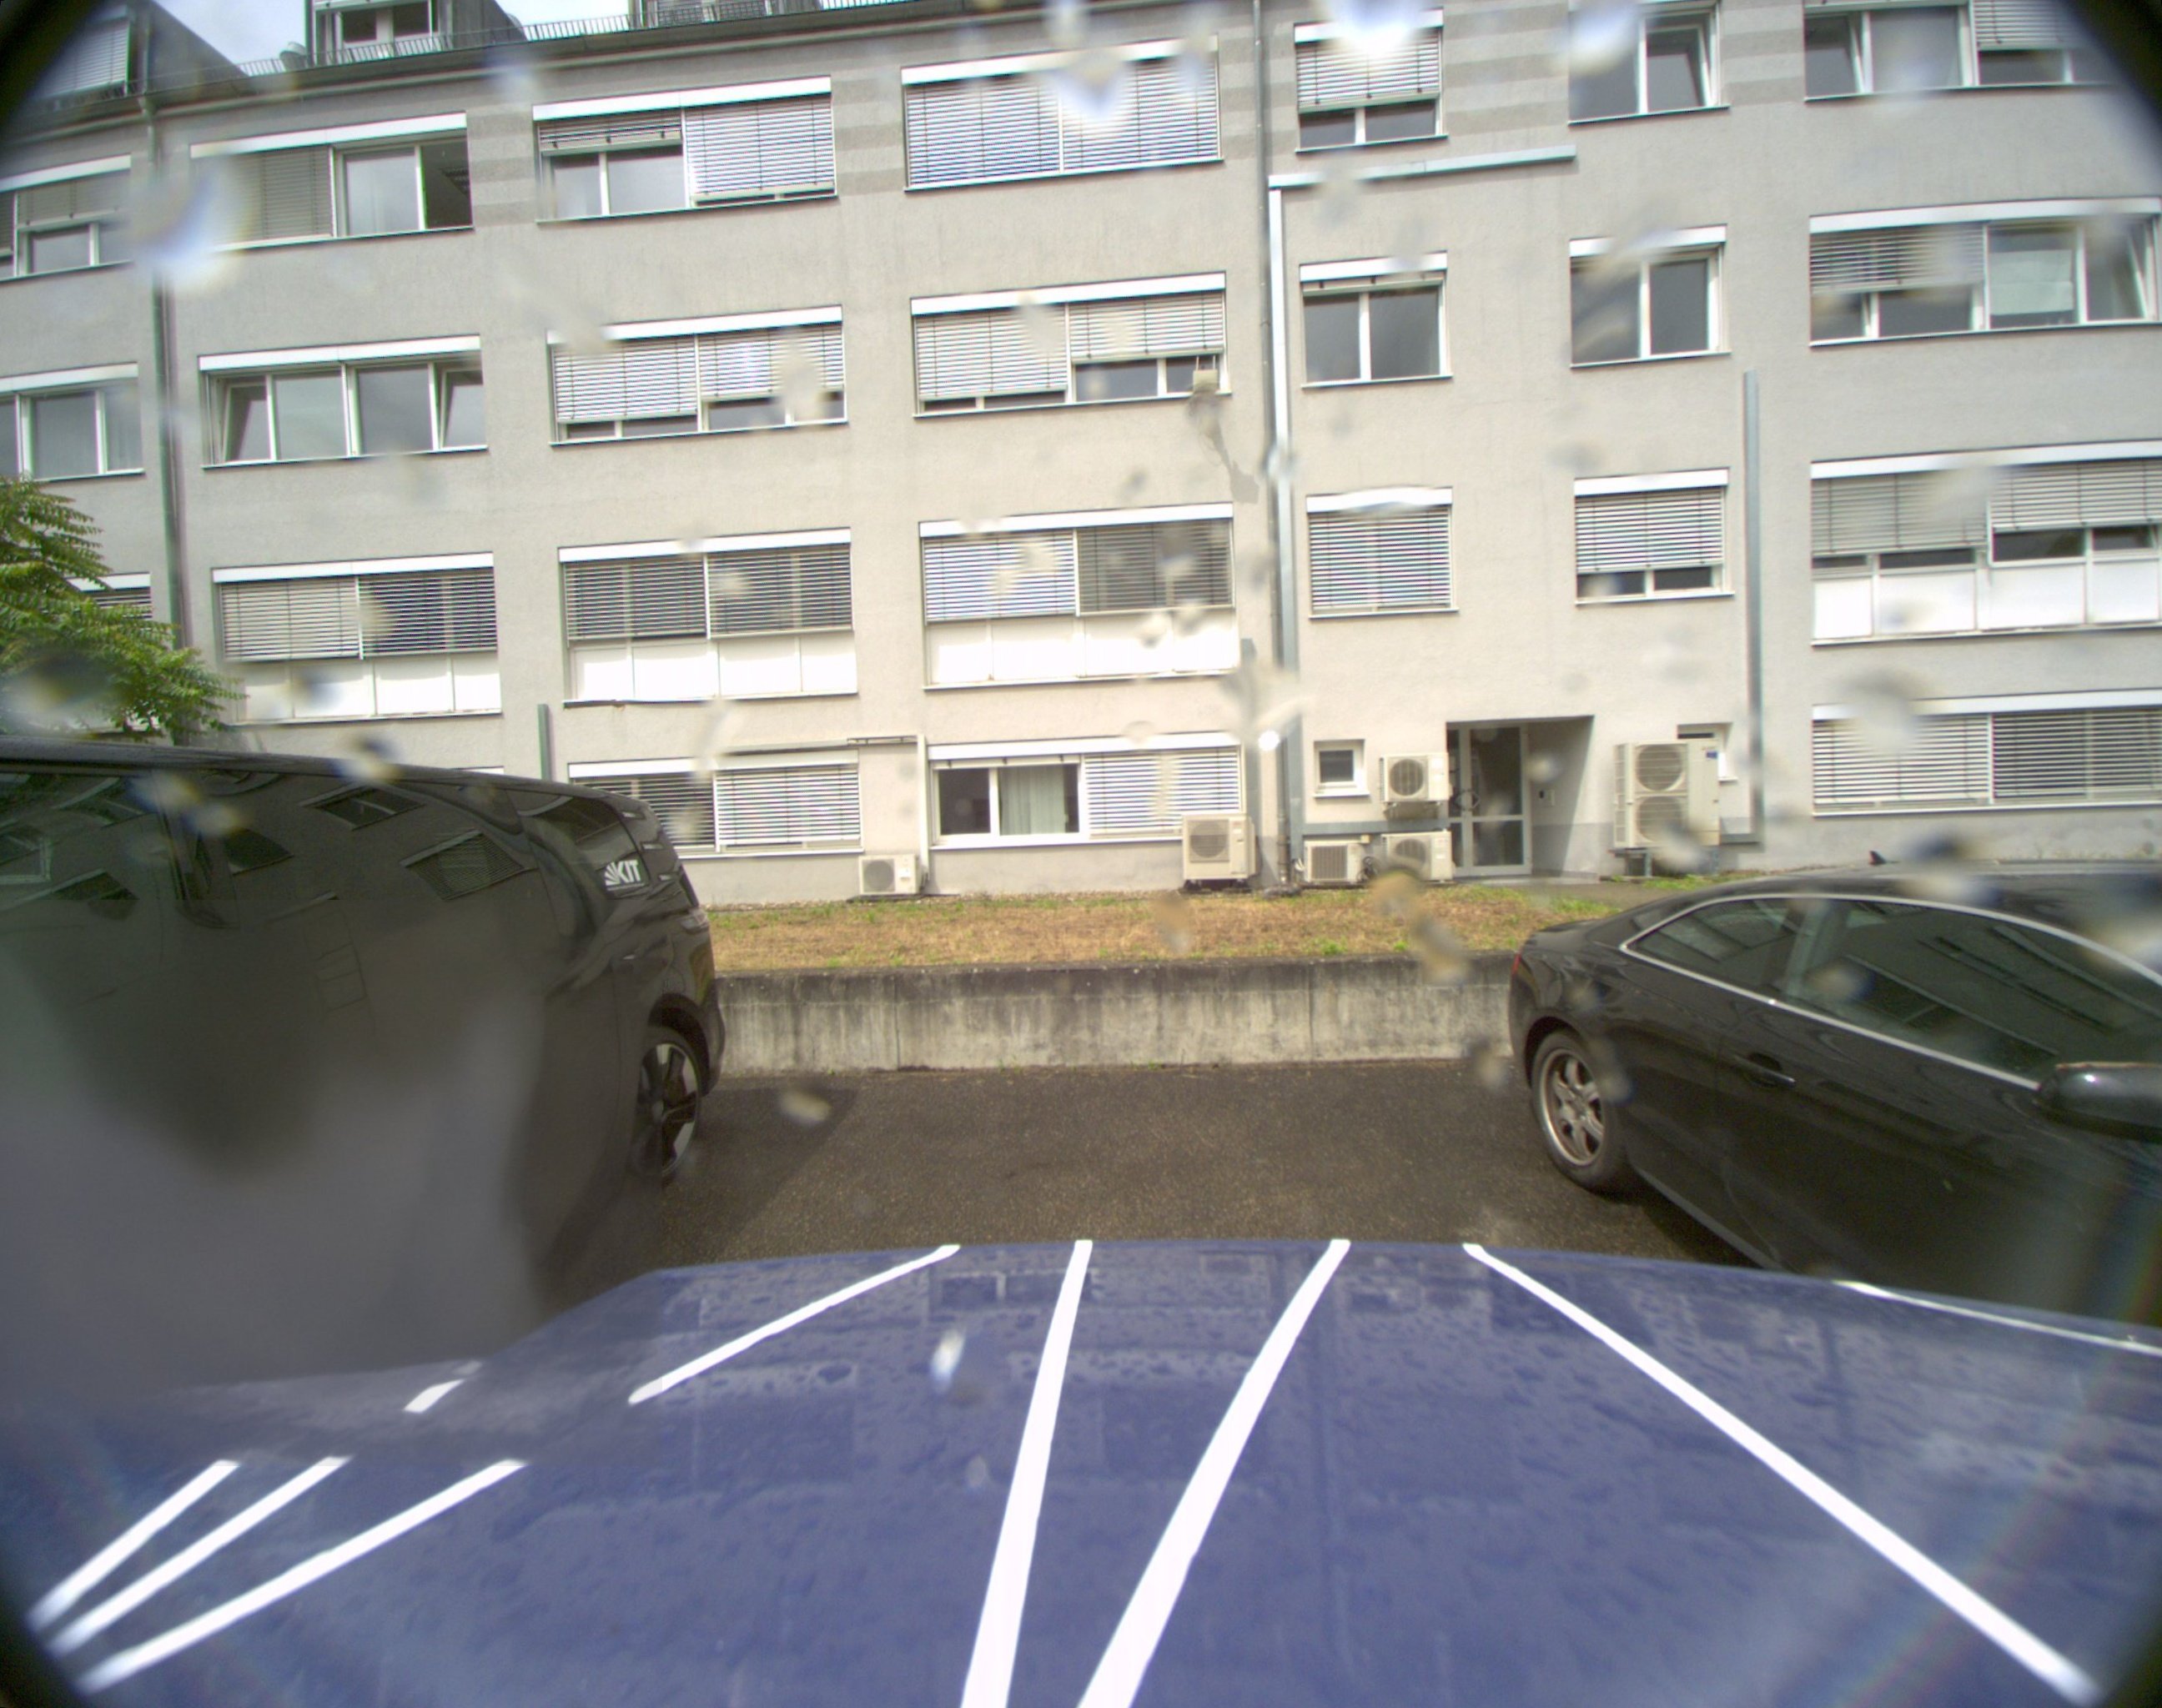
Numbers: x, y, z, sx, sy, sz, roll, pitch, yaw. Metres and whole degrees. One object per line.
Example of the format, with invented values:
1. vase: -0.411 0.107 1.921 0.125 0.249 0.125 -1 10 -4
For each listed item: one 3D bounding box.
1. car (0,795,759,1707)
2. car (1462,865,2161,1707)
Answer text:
1. car: -2.964 0.841 1.920 1.969 1.854 4.747 -2 2 3
2. car: 2.708 0.847 1.647 1.761 1.344 4.529 -3 2 4
